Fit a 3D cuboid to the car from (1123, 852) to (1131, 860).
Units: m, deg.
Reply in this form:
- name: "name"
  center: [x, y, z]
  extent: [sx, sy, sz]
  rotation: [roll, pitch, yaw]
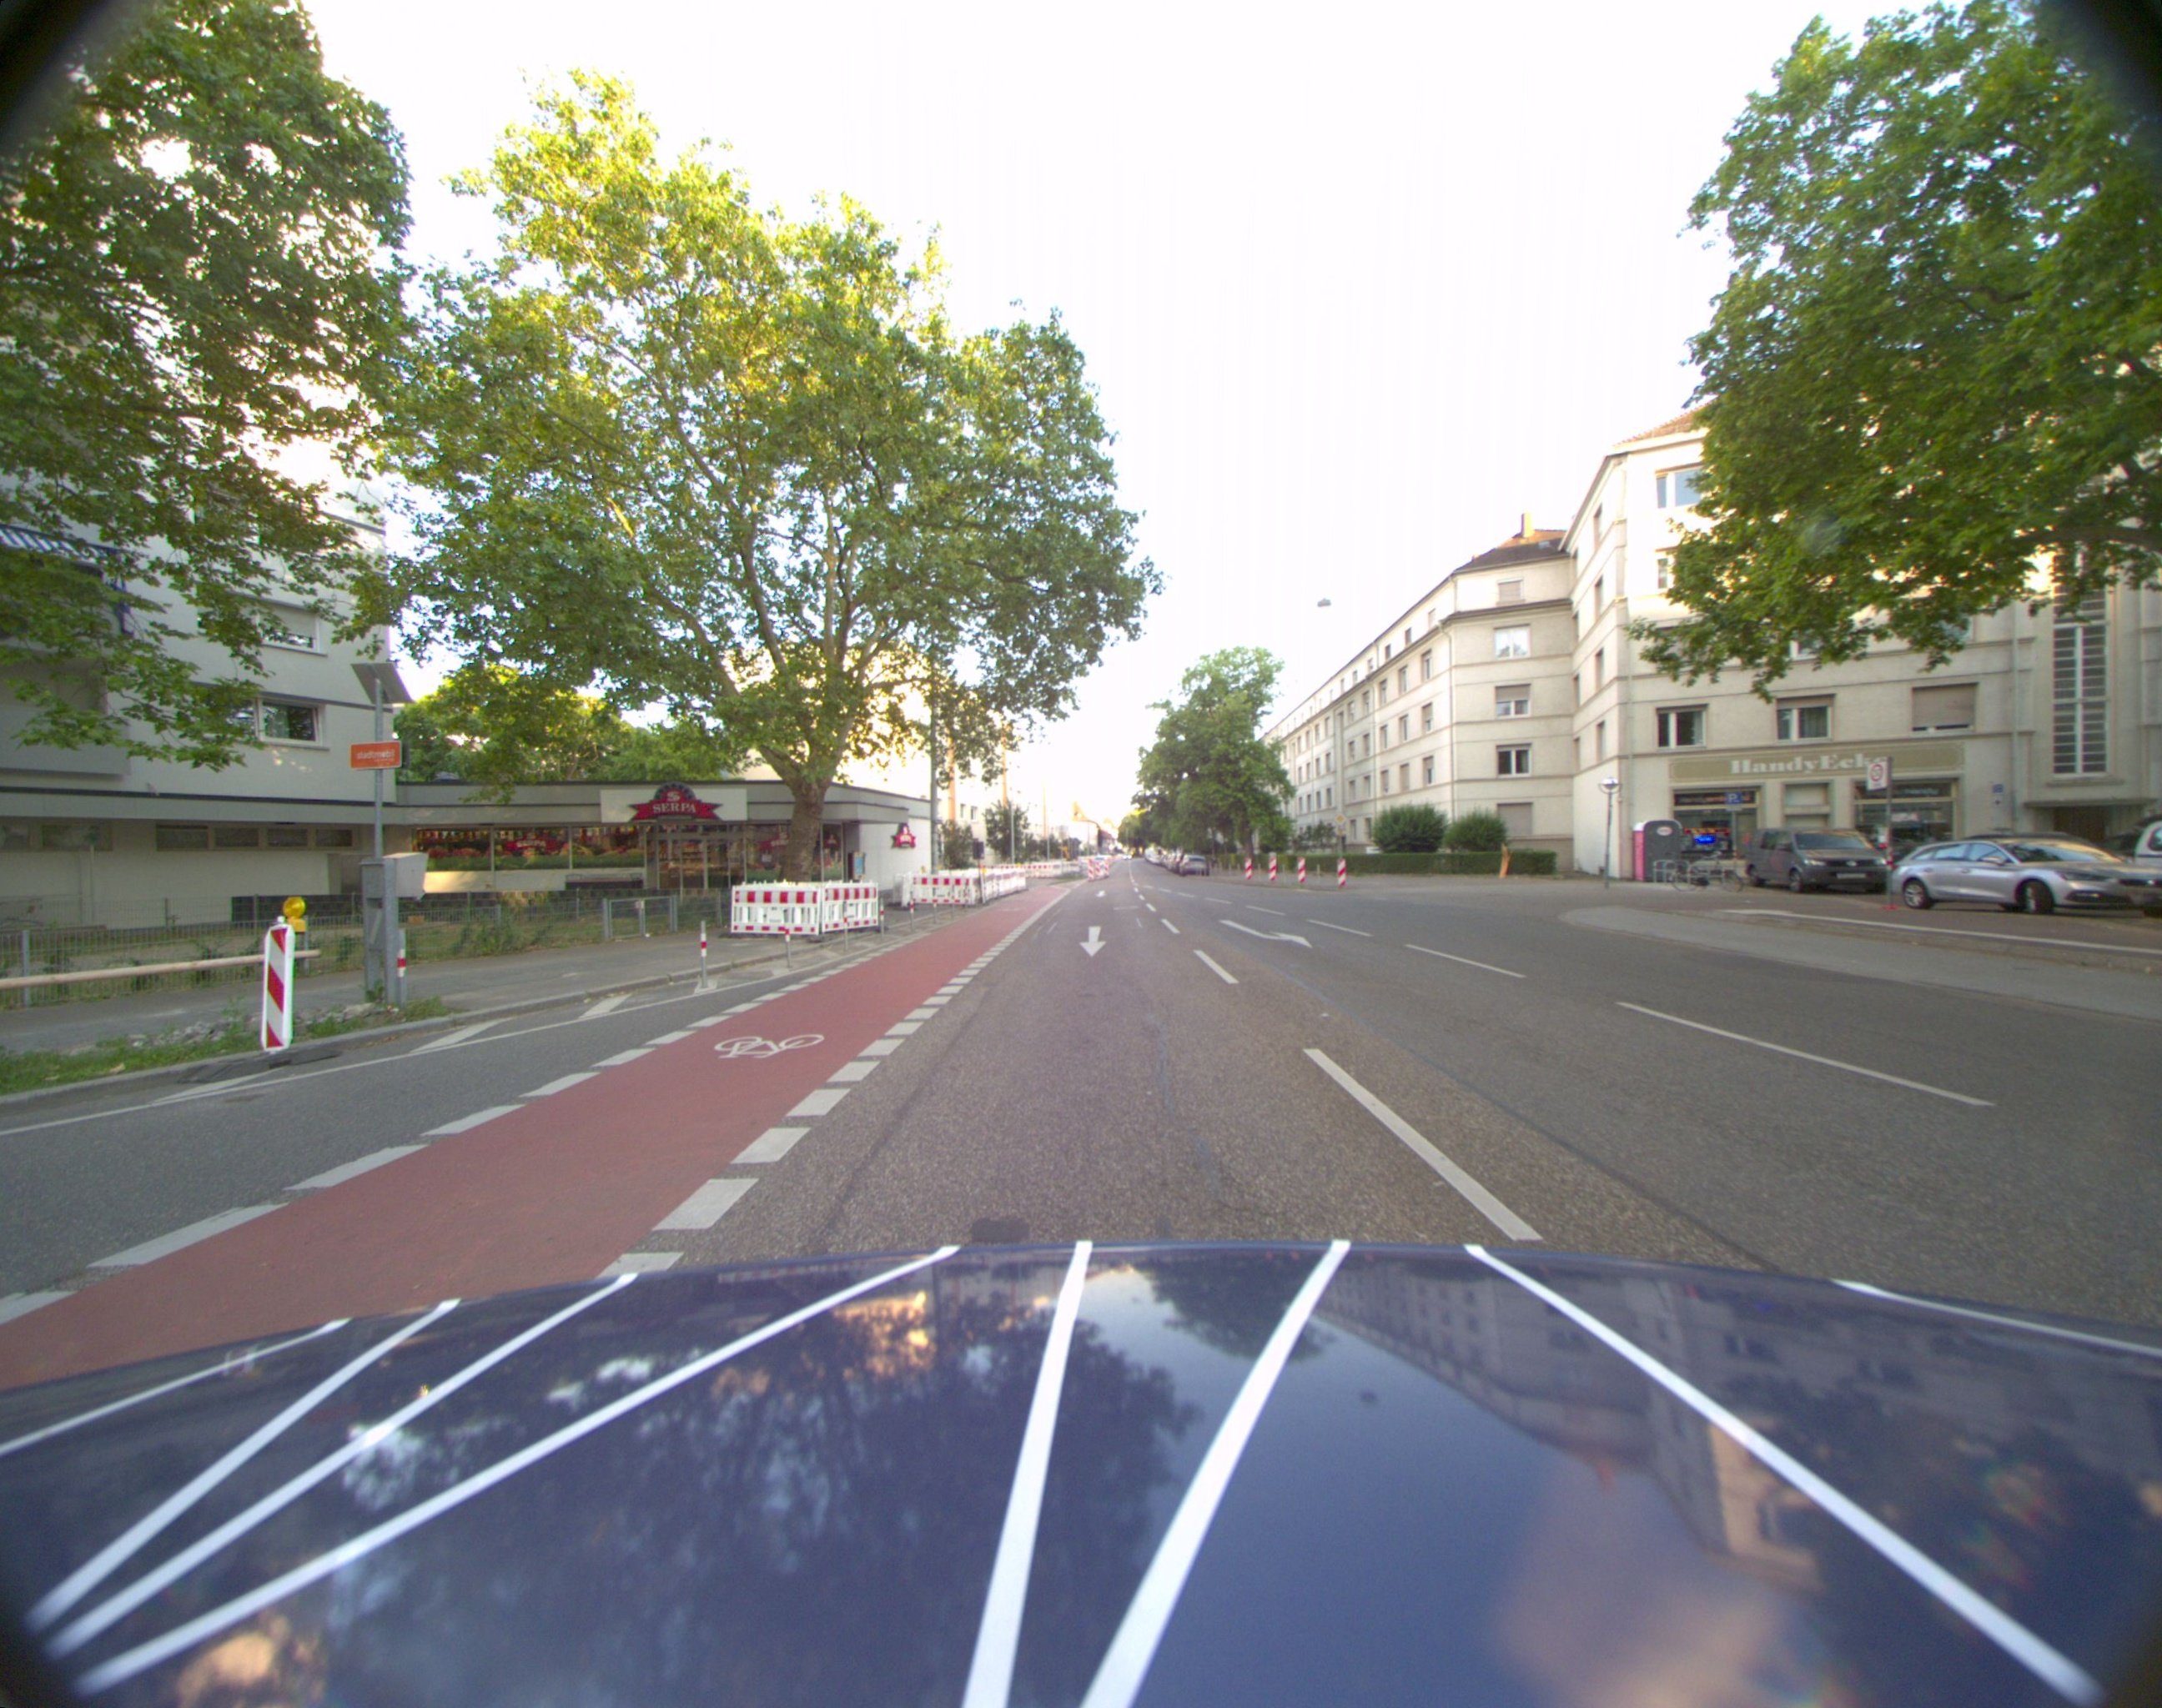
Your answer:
- name: "car"
  center: [11.626, 0.535, 192.520]
  extent: [1.998, 1.838, 4.000]
  rotation: [-2, 1, 2]

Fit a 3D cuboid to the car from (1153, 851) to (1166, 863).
- name: "car"
  center: [12.120, 0.472, 117.872]
  extent: [1.892, 1.591, 4.260]
  rotation: [-2, 1, 6]

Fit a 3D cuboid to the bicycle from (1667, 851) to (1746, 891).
- name: "bicycle"
  center: [19.399, 0.536, 23.610]
  extent: [1.802, 1.199, 0.648]
  rotation: [-1, 2, 33]

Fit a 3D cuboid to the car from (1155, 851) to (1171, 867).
- name: "car"
  center: [10.676, 0.640, 98.997]
  extent: [1.892, 1.815, 4.260]
  rotation: [-2, 1, 6]

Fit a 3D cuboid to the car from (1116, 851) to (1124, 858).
- name: "car"
  center: [10.522, 0.089, 205.427]
  extent: [1.892, 1.591, 4.260]
  rotation: [-2, 1, 6]

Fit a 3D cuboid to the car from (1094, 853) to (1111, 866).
- name: "car"
  center: [2.886, 0.742, 101.034]
  extent: [1.892, 1.591, 4.260]
  rotation: [-2, 1, 6]

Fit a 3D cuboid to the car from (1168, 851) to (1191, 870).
- name: "car"
  center: [9.008, 0.550, 69.462]
  extent: [1.892, 1.591, 4.260]
  rotation: [-2, 1, 6]

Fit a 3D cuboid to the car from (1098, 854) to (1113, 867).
- name: "car"
  center: [3.696, 0.916, 113.320]
  extent: [1.892, 1.726, 4.260]
  rotation: [-2, 1, 6]

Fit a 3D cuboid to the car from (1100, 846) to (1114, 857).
- name: "car"
  center: [4.186, -0.362, 121.833]
  extent: [1.892, 1.651, 4.260]
  rotation: [-2, 1, 6]

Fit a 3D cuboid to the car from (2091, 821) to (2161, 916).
- name: "car"
  center: [20.715, 0.261, 12.989]
  extent: [1.995, 1.771, 4.649]
  rotation: [0, -1, 21]

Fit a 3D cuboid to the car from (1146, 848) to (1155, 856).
- name: "car"
  center: [15.201, -0.498, 166.077]
  extent: [1.892, 1.591, 4.260]
  rotation: [-2, 1, 6]

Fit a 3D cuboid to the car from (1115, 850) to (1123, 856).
- name: "car"
  center: [9.775, -0.248, 196.467]
  extent: [1.892, 1.591, 4.260]
  rotation: [-2, 1, 6]

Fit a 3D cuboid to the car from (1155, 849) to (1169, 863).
- name: "car"
  center: [11.550, 0.307, 108.200]
  extent: [1.892, 1.855, 4.260]
  rotation: [-2, 1, 6]

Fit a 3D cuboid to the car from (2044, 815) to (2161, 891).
- name: "car"
  center: [29.614, -0.089, 20.825]
  extent: [1.995, 1.945, 4.646]
  rotation: [0, 3, 23]

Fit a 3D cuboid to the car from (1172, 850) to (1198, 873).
- name: "car"
  center: [8.475, 0.571, 62.163]
  extent: [1.892, 1.681, 4.260]
  rotation: [-2, 1, 6]

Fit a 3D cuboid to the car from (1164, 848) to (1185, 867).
- name: "car"
  center: [9.280, 0.338, 75.408]
  extent: [1.892, 1.764, 4.260]
  rotation: [-2, 1, 6]

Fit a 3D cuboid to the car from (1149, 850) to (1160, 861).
- name: "car"
  center: [13.823, 0.215, 142.874]
  extent: [1.892, 1.868, 4.946]
  rotation: [-2, 1, 6]

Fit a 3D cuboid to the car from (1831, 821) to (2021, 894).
- name: "car"
  center: [24.965, 0.005, 22.730]
  extent: [1.995, 1.945, 4.646]
  rotation: [0, 3, 23]

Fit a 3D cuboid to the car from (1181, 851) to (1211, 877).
- name: "car"
  center: [8.122, 0.681, 53.954]
  extent: [1.892, 1.591, 4.001]
  rotation: [-2, 1, 6]

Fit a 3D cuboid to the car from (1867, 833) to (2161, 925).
- name: "car"
  center: [18.130, 0.436, 14.670]
  extent: [1.996, 1.494, 4.647]
  rotation: [0, -1, 15]

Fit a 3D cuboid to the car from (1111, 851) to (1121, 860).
- name: "car"
  center: [7.170, 0.293, 156.223]
  extent: [1.892, 1.591, 4.260]
  rotation: [-2, 1, 6]

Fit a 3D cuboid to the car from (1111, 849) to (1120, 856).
- name: "car"
  center: [8.496, -0.390, 184.833]
  extent: [1.892, 1.591, 4.260]
  rotation: [-2, 1, 6]

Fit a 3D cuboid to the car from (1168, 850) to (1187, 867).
- name: "car"
  center: [10.229, 0.439, 80.928]
  extent: [1.892, 1.591, 4.260]
  rotation: [-2, 1, 6]

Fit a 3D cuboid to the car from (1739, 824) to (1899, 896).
- name: "car"
  center: [22.610, 0.089, 23.552]
  extent: [1.995, 1.945, 4.646]
  rotation: [0, 3, 23]

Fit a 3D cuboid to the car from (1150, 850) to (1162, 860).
- name: "car"
  center: [13.137, 0.142, 132.794]
  extent: [1.892, 1.591, 4.260]
  rotation: [-2, 1, 6]
